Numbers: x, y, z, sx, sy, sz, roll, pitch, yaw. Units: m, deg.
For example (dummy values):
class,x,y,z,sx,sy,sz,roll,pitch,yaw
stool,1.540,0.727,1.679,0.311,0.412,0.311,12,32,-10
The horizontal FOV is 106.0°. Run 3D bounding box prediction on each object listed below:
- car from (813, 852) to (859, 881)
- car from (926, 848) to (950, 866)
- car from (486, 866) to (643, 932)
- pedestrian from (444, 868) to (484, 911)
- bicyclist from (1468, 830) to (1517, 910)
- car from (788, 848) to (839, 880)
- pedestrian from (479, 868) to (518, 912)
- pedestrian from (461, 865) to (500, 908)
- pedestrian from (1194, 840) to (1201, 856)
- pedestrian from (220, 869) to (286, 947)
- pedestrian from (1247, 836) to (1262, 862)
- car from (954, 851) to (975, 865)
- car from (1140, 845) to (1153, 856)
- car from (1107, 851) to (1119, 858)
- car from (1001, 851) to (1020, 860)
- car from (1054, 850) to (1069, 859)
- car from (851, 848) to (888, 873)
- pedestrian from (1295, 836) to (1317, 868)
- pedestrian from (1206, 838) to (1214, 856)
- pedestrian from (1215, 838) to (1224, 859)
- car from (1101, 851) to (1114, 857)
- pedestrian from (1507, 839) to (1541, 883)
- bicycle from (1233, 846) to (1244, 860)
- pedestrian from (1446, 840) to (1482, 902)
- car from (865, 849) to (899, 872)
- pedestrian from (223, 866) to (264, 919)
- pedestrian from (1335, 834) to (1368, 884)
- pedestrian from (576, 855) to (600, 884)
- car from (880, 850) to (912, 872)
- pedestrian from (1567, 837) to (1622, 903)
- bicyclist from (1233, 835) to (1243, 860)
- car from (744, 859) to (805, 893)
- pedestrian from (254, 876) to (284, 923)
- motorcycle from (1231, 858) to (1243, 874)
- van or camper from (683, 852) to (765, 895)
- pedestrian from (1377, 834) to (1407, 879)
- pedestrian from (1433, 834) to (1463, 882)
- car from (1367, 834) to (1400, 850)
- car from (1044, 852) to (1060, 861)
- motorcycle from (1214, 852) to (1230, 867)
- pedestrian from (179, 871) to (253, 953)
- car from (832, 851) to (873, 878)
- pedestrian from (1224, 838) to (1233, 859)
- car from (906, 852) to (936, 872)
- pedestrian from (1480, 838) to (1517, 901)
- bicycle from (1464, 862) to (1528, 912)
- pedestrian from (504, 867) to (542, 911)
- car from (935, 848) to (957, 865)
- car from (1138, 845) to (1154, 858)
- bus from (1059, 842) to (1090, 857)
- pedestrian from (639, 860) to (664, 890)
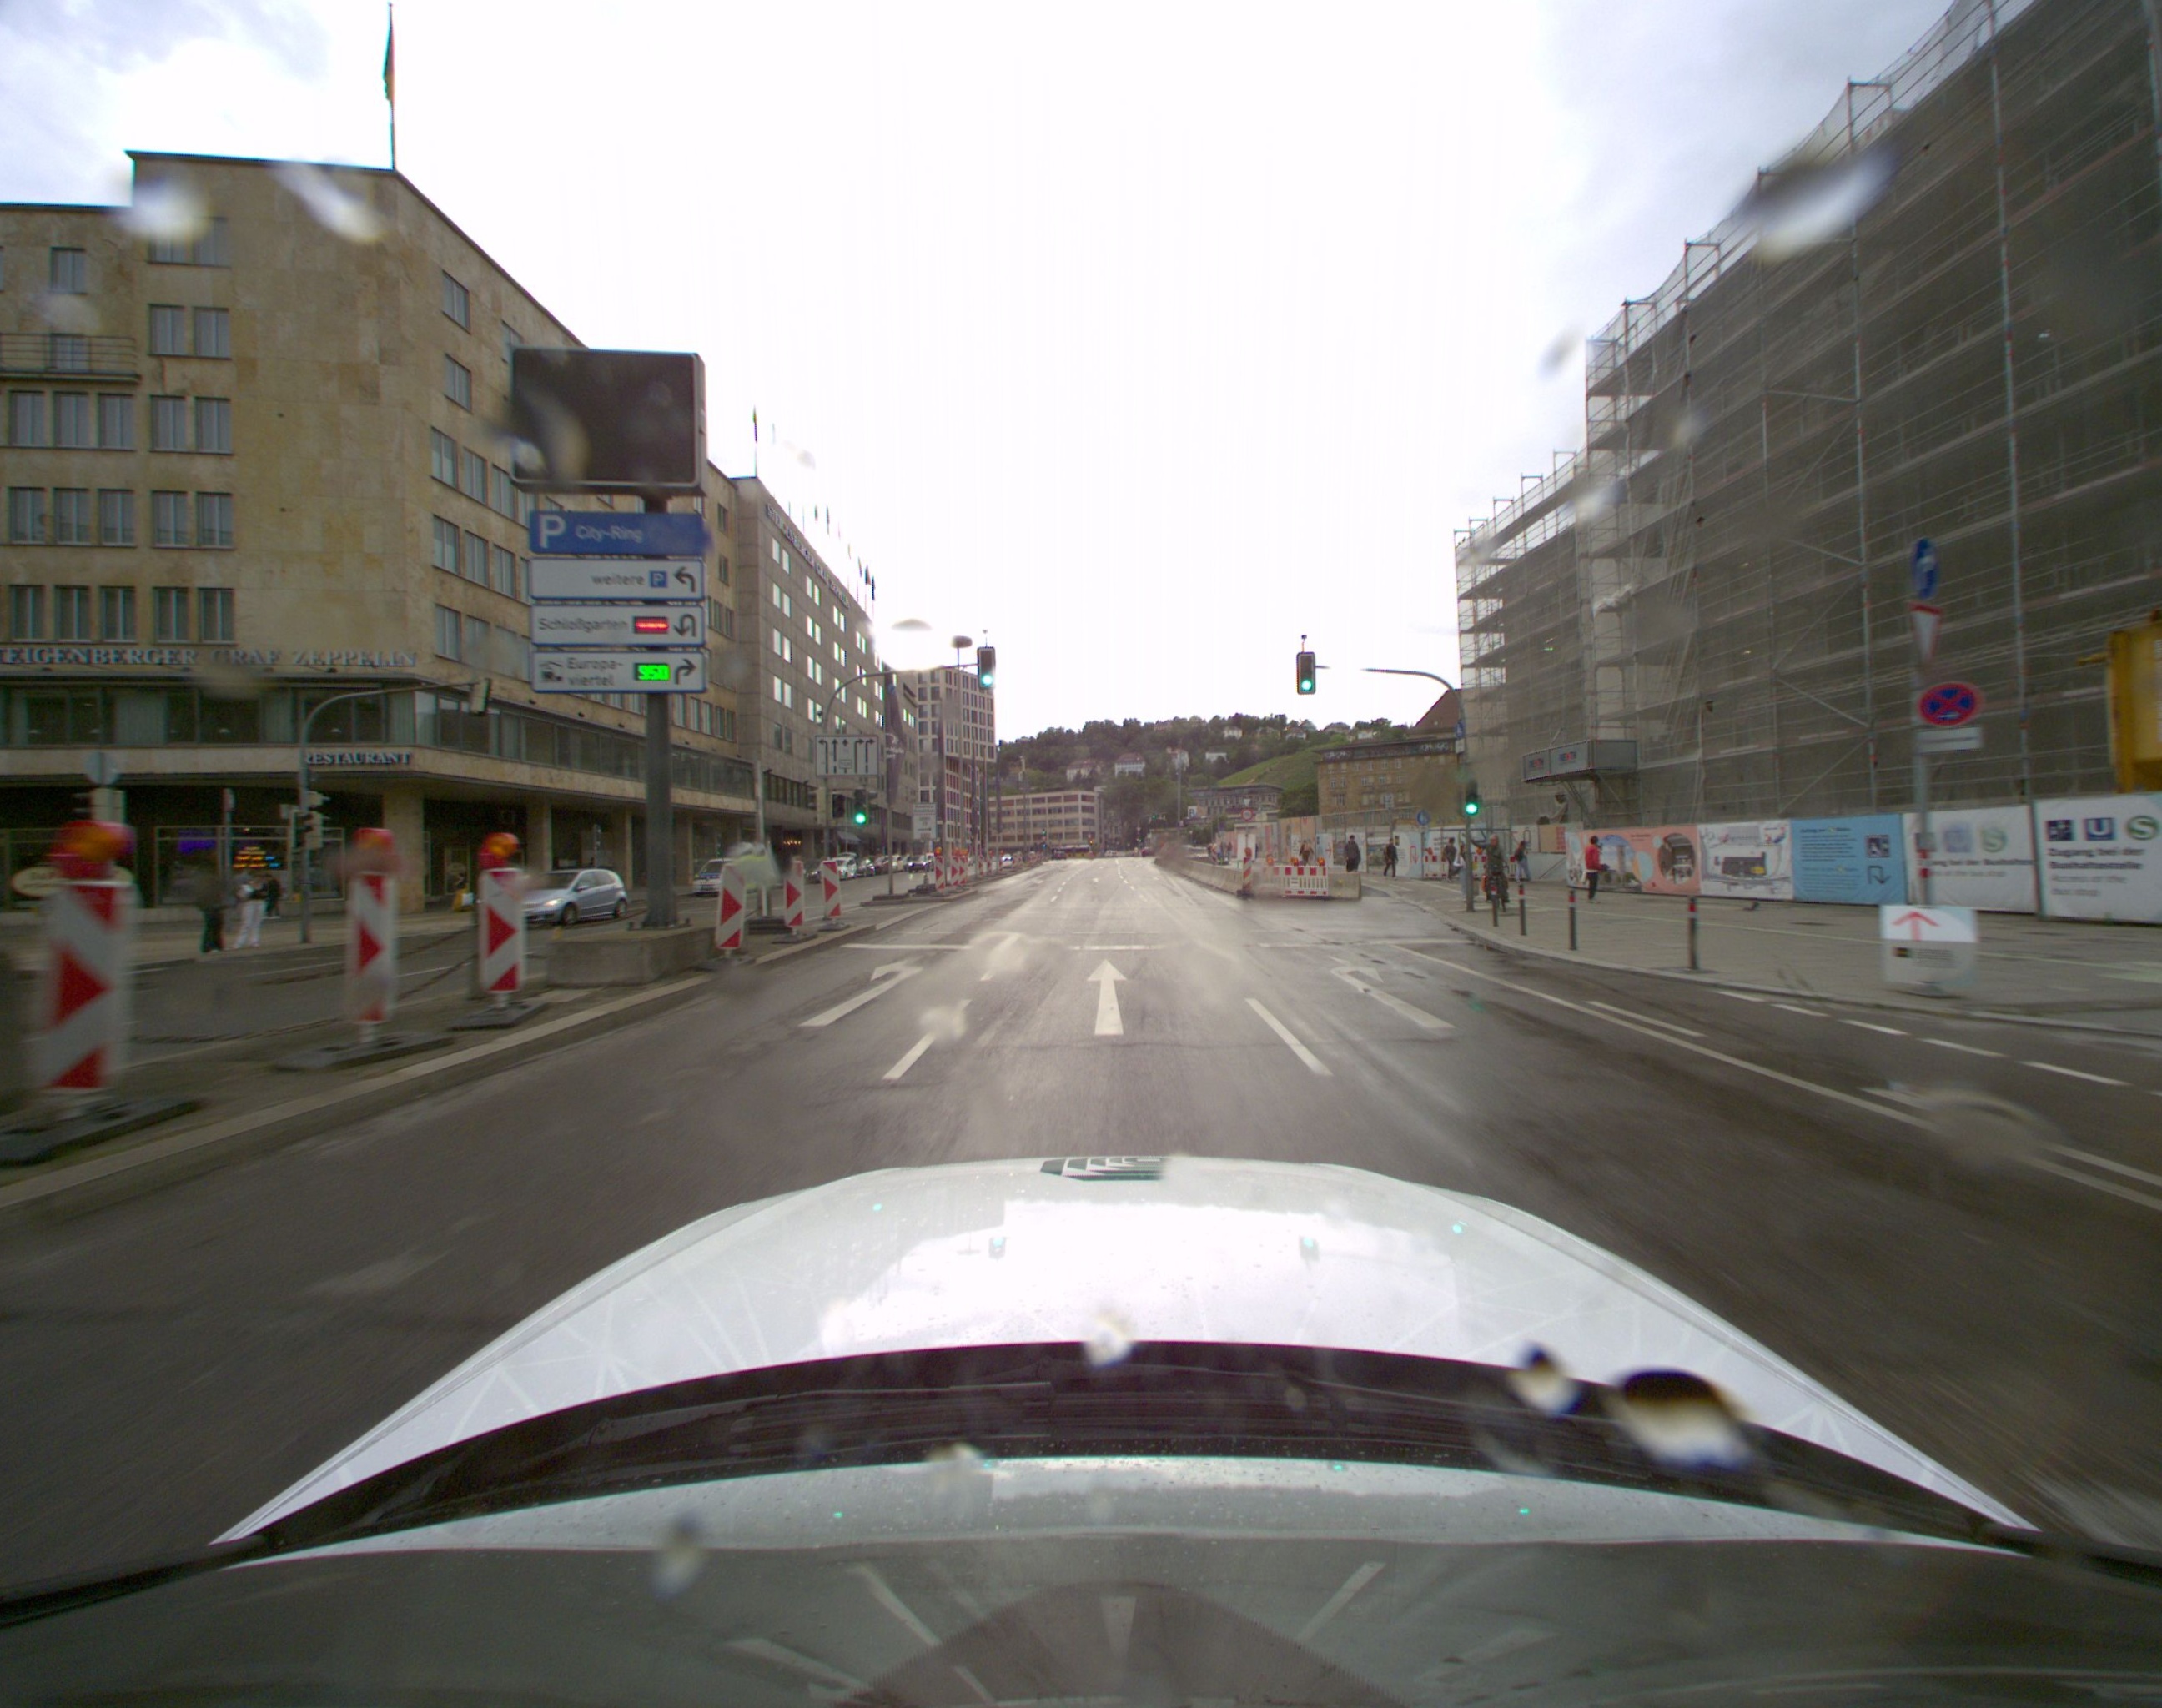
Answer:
class,x,y,z,sx,sy,sz,roll,pitch,yaw
car,-17.969,0.879,59.925,1.987,2.013,4.164,-2,0,1
car,-17.386,0.328,99.122,1.987,2.013,4.000,-2,0,1
car,-14.671,1.213,23.466,1.762,1.609,4.226,-2,0,0
pedestrian,-23.484,1.353,31.011,0.718,1.557,1.005,-2,0,1
bicyclist,9.728,0.363,19.264,0.700,1.844,0.969,-1,0,4
car,-17.909,0.646,54.676,1.987,2.013,4.000,-2,0,1
pedestrian,-21.562,1.327,30.144,0.718,1.557,0.905,-2,0,1
pedestrian,-22.667,1.226,30.746,0.718,1.557,0.895,-2,0,1
pedestrian,13.583,-0.741,94.735,0.685,1.841,0.615,-2,0,5
pedestrian,-18.362,1.187,18.067,0.753,1.672,0.700,-2,0,13
pedestrian,12.758,-0.370,60.051,0.941,1.841,0.869,-2,0,6
car,-14.526,0.470,101.581,1.987,1.618,4.000,-2,0,1
car,10.633,-0.581,132.606,1.769,1.639,4.001,-2,1,1
car,6.980,0.005,175.648,1.819,1.442,3.987,0,1,-10
car,-15.215,0.355,175.294,1.974,1.596,4.026,-2,1,33
car,-3.521,0.104,144.160,1.994,1.552,3.985,-2,0,-11
car,-17.921,0.544,69.063,1.987,2.013,4.000,-2,0,1
pedestrian,13.157,-0.103,47.621,0.944,1.841,0.866,-2,0,-3
pedestrian,13.554,-0.736,85.477,0.685,1.841,0.615,-2,0,5
pedestrian,12.231,-0.501,71.803,0.685,1.841,0.615,-2,0,5
car,6.139,0.049,189.573,1.998,1.442,3.977,0,1,-17
pedestrian,17.258,0.263,31.744,0.861,1.661,0.798,-2,0,2
bicycle,13.173,-0.112,68.153,0.641,1.137,1.766,-2,0,5
pedestrian,10.319,0.447,21.916,0.787,1.608,0.841,-2,0,28
car,-18.136,0.585,74.374,1.987,2.013,4.000,-2,0,1
pedestrian,-29.495,1.357,28.681,0.697,1.803,0.756,-2,0,-19
pedestrian,10.353,0.182,31.161,0.937,1.841,0.953,-2,0,30
pedestrian,-27.137,0.860,44.816,0.792,1.526,0.717,-2,0,2
car,-17.992,0.643,79.228,1.987,2.013,4.416,-2,0,1
pedestrian,12.966,0.385,20.577,0.768,1.608,0.859,-2,0,-15
bicyclist,13.161,-0.549,68.253,0.639,2.013,0.656,-2,0,4
car,-18.157,1.285,48.442,1.987,1.838,4.000,-2,0,1
pedestrian,-29.207,1.624,29.300,0.654,1.644,0.689,-2,0,-40
motorcycle,7.053,0.546,36.836,0.369,0.722,0.922,0,1,2
van or camper,-18.182,0.935,41.762,1.987,2.013,4.964,-2,0,0
pedestrian,13.091,0.113,34.282,0.856,1.841,0.955,-2,0,43
pedestrian,14.380,0.163,31.950,0.859,1.841,0.799,-2,0,10
car,41.839,-1.631,112.760,3.963,2.013,2.005,-2,0,9
car,-6.074,0.471,169.441,1.787,1.639,3.963,-5,1,-28
motorcycle,6.646,0.270,38.397,0.401,0.682,0.917,0,1,-16
pedestrian,-18.368,1.221,17.308,0.827,1.672,0.706,-2,0,13
car,-17.885,0.772,64.006,1.987,2.013,4.000,-2,0,1
pedestrian,13.016,-0.511,71.715,0.685,1.841,0.615,-2,0,5
car,-14.918,0.749,76.110,1.987,1.750,4.000,-2,0,1
pedestrian,10.950,0.409,21.335,0.787,1.608,0.841,-2,0,29
bicycle,9.731,0.746,19.180,0.704,1.049,1.809,-1,1,4
pedestrian,-20.773,1.297,30.325,0.718,1.557,0.895,-2,0,1
car,-17.268,0.297,104.208,1.987,2.013,4.000,-3,1,0
car,9.430,-0.335,118.413,1.988,1.706,3.998,-2,0,-1
bus,-1.705,-1.106,207.639,2.715,3.760,9.219,-2,0,-38
pedestrian,-22.563,1.096,42.803,0.792,1.526,0.917,-2,0,2
